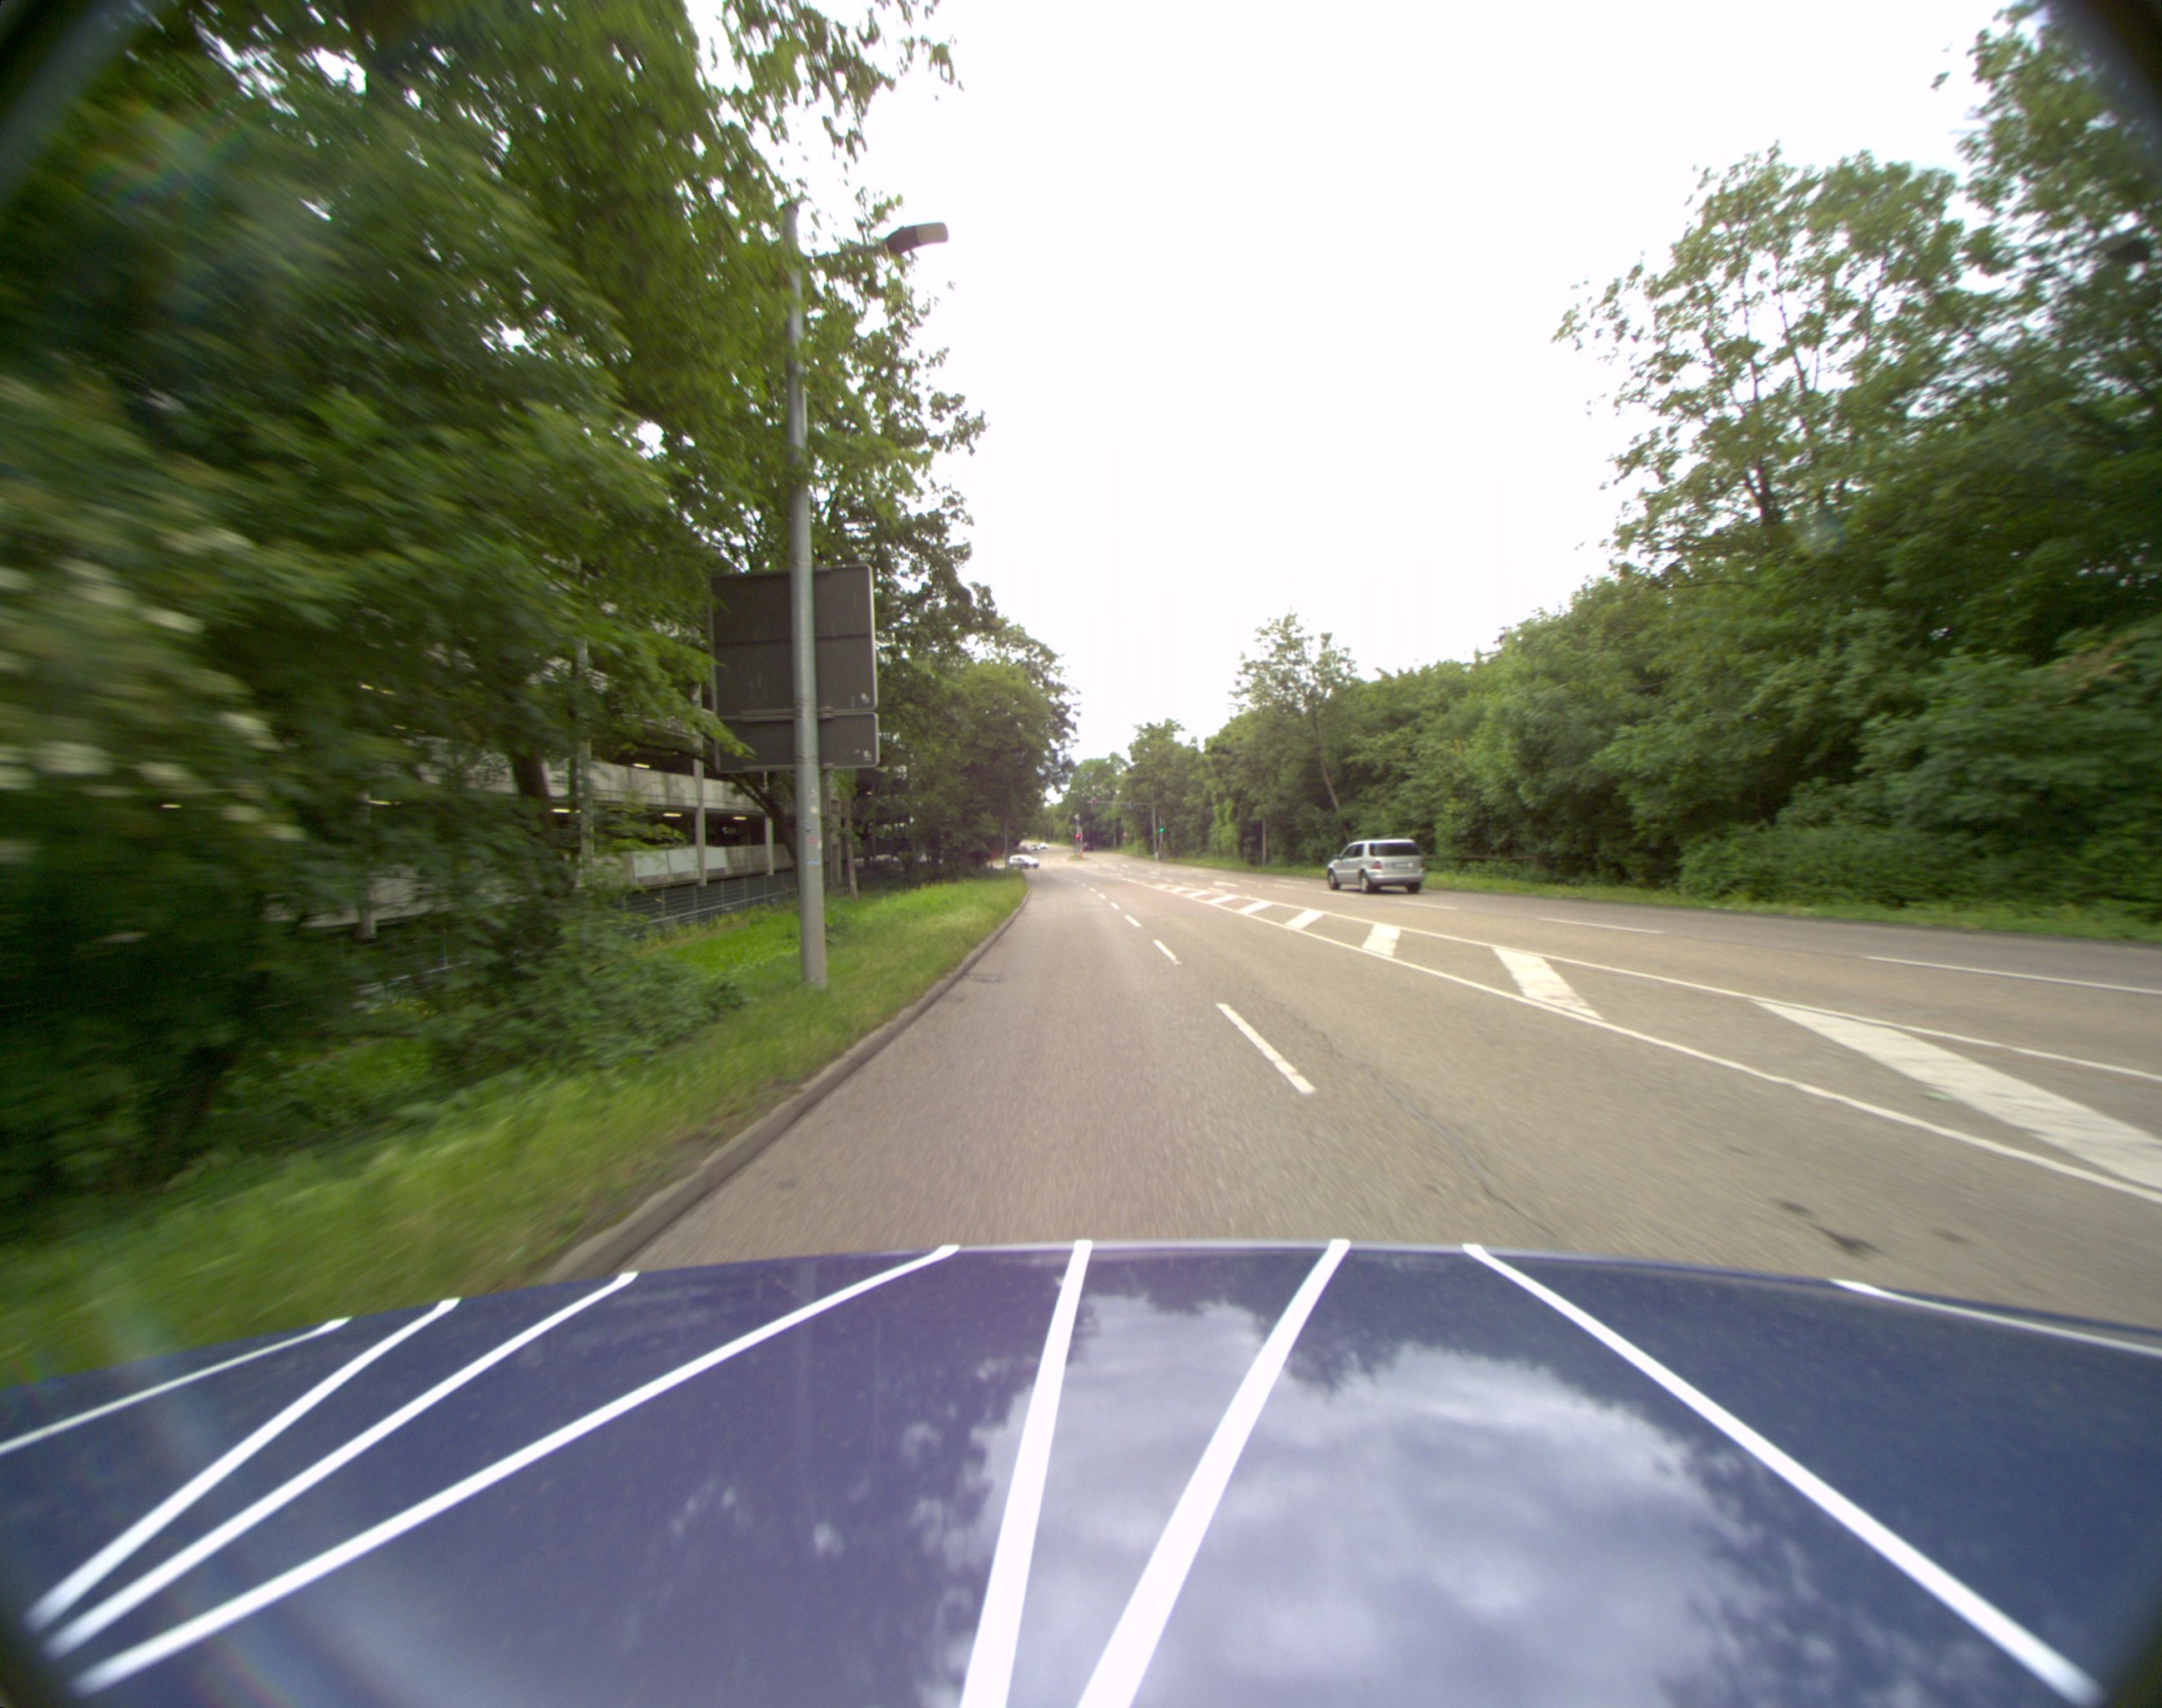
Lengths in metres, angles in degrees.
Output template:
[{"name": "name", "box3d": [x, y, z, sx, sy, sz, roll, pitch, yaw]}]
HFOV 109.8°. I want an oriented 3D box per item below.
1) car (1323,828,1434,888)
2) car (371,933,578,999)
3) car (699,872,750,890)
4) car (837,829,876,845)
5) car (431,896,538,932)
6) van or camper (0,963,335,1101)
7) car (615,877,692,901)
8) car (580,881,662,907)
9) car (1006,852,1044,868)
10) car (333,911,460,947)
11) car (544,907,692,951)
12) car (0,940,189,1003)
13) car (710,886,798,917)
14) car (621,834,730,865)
[{"name": "car", "box3d": [9.946, 0.149, 25.816, 1.818, 1.819, 4.382, -1, 0, -3]}, {"name": "car", "box3d": [-17.371, 3.188, 21.971, 4.267, 1.498, 1.948, 0, 2, -4]}, {"name": "car", "box3d": [-28.770, 2.205, 61.422, 3.342, 1.170, 1.521, -3, 3, -4]}, {"name": "car", "box3d": [-18.895, -1.463, 64.049, 2.895, 1.240, 1.355, -1, 3, -3]}, {"name": "car", "box3d": [-28.468, 2.842, 36.352, 3.673, 1.474, 1.672, 0, 2, -4]}, {"name": "van or camper", "box3d": [-16.570, 3.137, 13.796, 4.016, 1.943, 1.839, -1, 2, -4]}, {"name": "car", "box3d": [-28.784, 2.327, 51.275, 4.071, 1.408, 1.825, -1, 1, -4]}, {"name": "car", "box3d": [-29.270, 2.507, 48.454, 4.071, 1.443, 1.825, -1, 1, -4]}, {"name": "car", "box3d": [-6.206, 0.611, 83.747, 1.859, 1.471, 4.496, -4, 4, -39]}, {"name": "car", "box3d": [-28.520, 3.104, 31.751, 3.673, 1.276, 1.672, 0, 2, -4]}, {"name": "car", "box3d": [-18.329, 2.958, 30.249, 4.603, 1.498, 1.947, 0, 1, -3]}, {"name": "car", "box3d": [-28.163, 3.300, 21.519, 3.672, 1.433, 1.672, 0, 2, -2]}, {"name": "car", "box3d": [-17.930, 2.604, 41.829, 3.998, 1.524, 1.862, -1, 1, -4]}, {"name": "car", "box3d": [-18.114, -0.225, 34.064, 3.842, 1.336, 1.832, 0, 1, 1]}]
